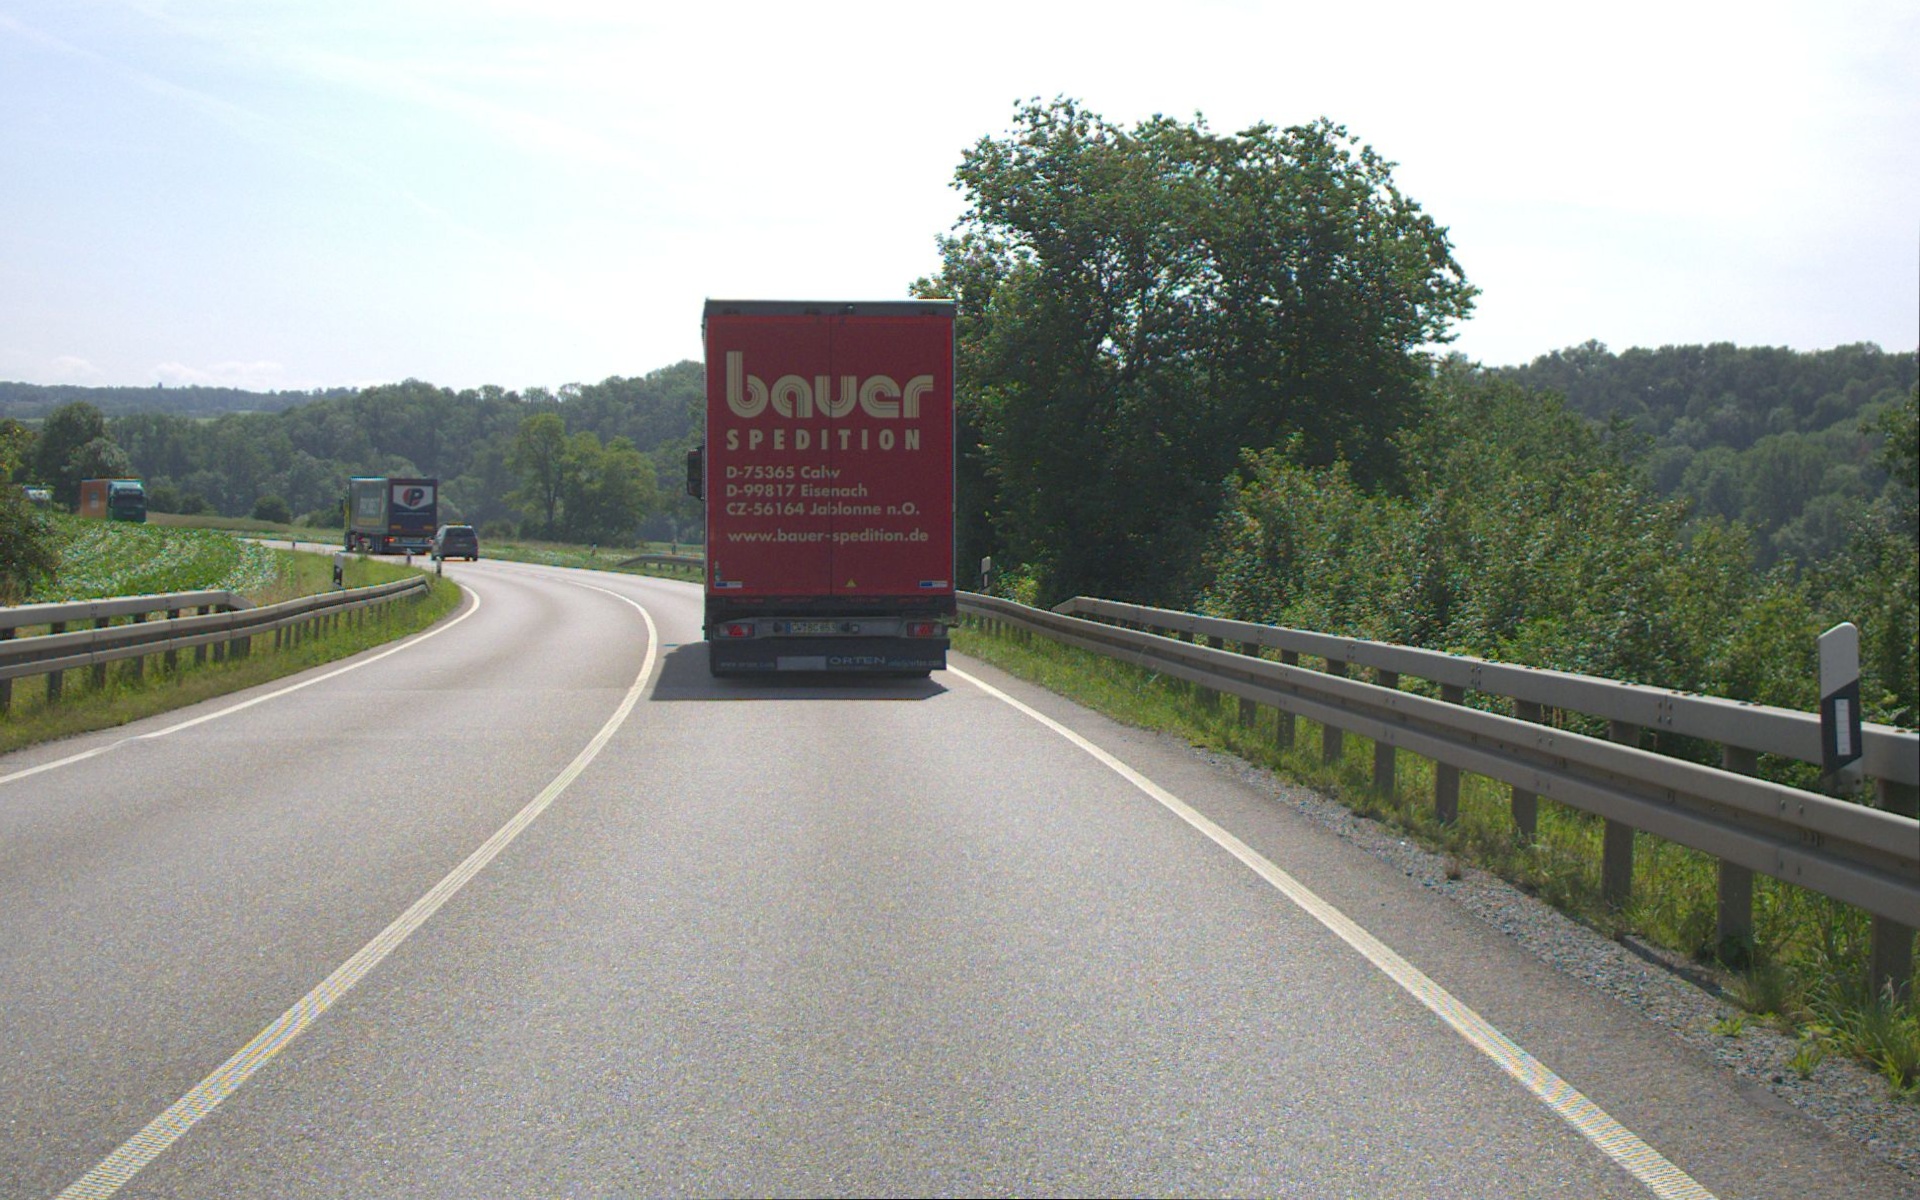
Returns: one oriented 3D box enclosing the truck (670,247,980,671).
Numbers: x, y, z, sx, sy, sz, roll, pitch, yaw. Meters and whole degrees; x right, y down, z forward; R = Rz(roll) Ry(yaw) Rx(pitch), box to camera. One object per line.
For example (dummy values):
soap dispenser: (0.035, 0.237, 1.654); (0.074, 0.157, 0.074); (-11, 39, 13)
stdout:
truck: (-1.521, -1.498, 38.638); (3.094, 4.248, 8.315); (0, 1, -2)

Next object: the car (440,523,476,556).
car: (-23.533, -2.829, 161.169); (1.581, 1.496, 3.877); (1, 2, -7)

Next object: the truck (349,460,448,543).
truck: (-30.264, -5.222, 184.846); (3.639, 4.277, 11.989); (0, 1, -17)
